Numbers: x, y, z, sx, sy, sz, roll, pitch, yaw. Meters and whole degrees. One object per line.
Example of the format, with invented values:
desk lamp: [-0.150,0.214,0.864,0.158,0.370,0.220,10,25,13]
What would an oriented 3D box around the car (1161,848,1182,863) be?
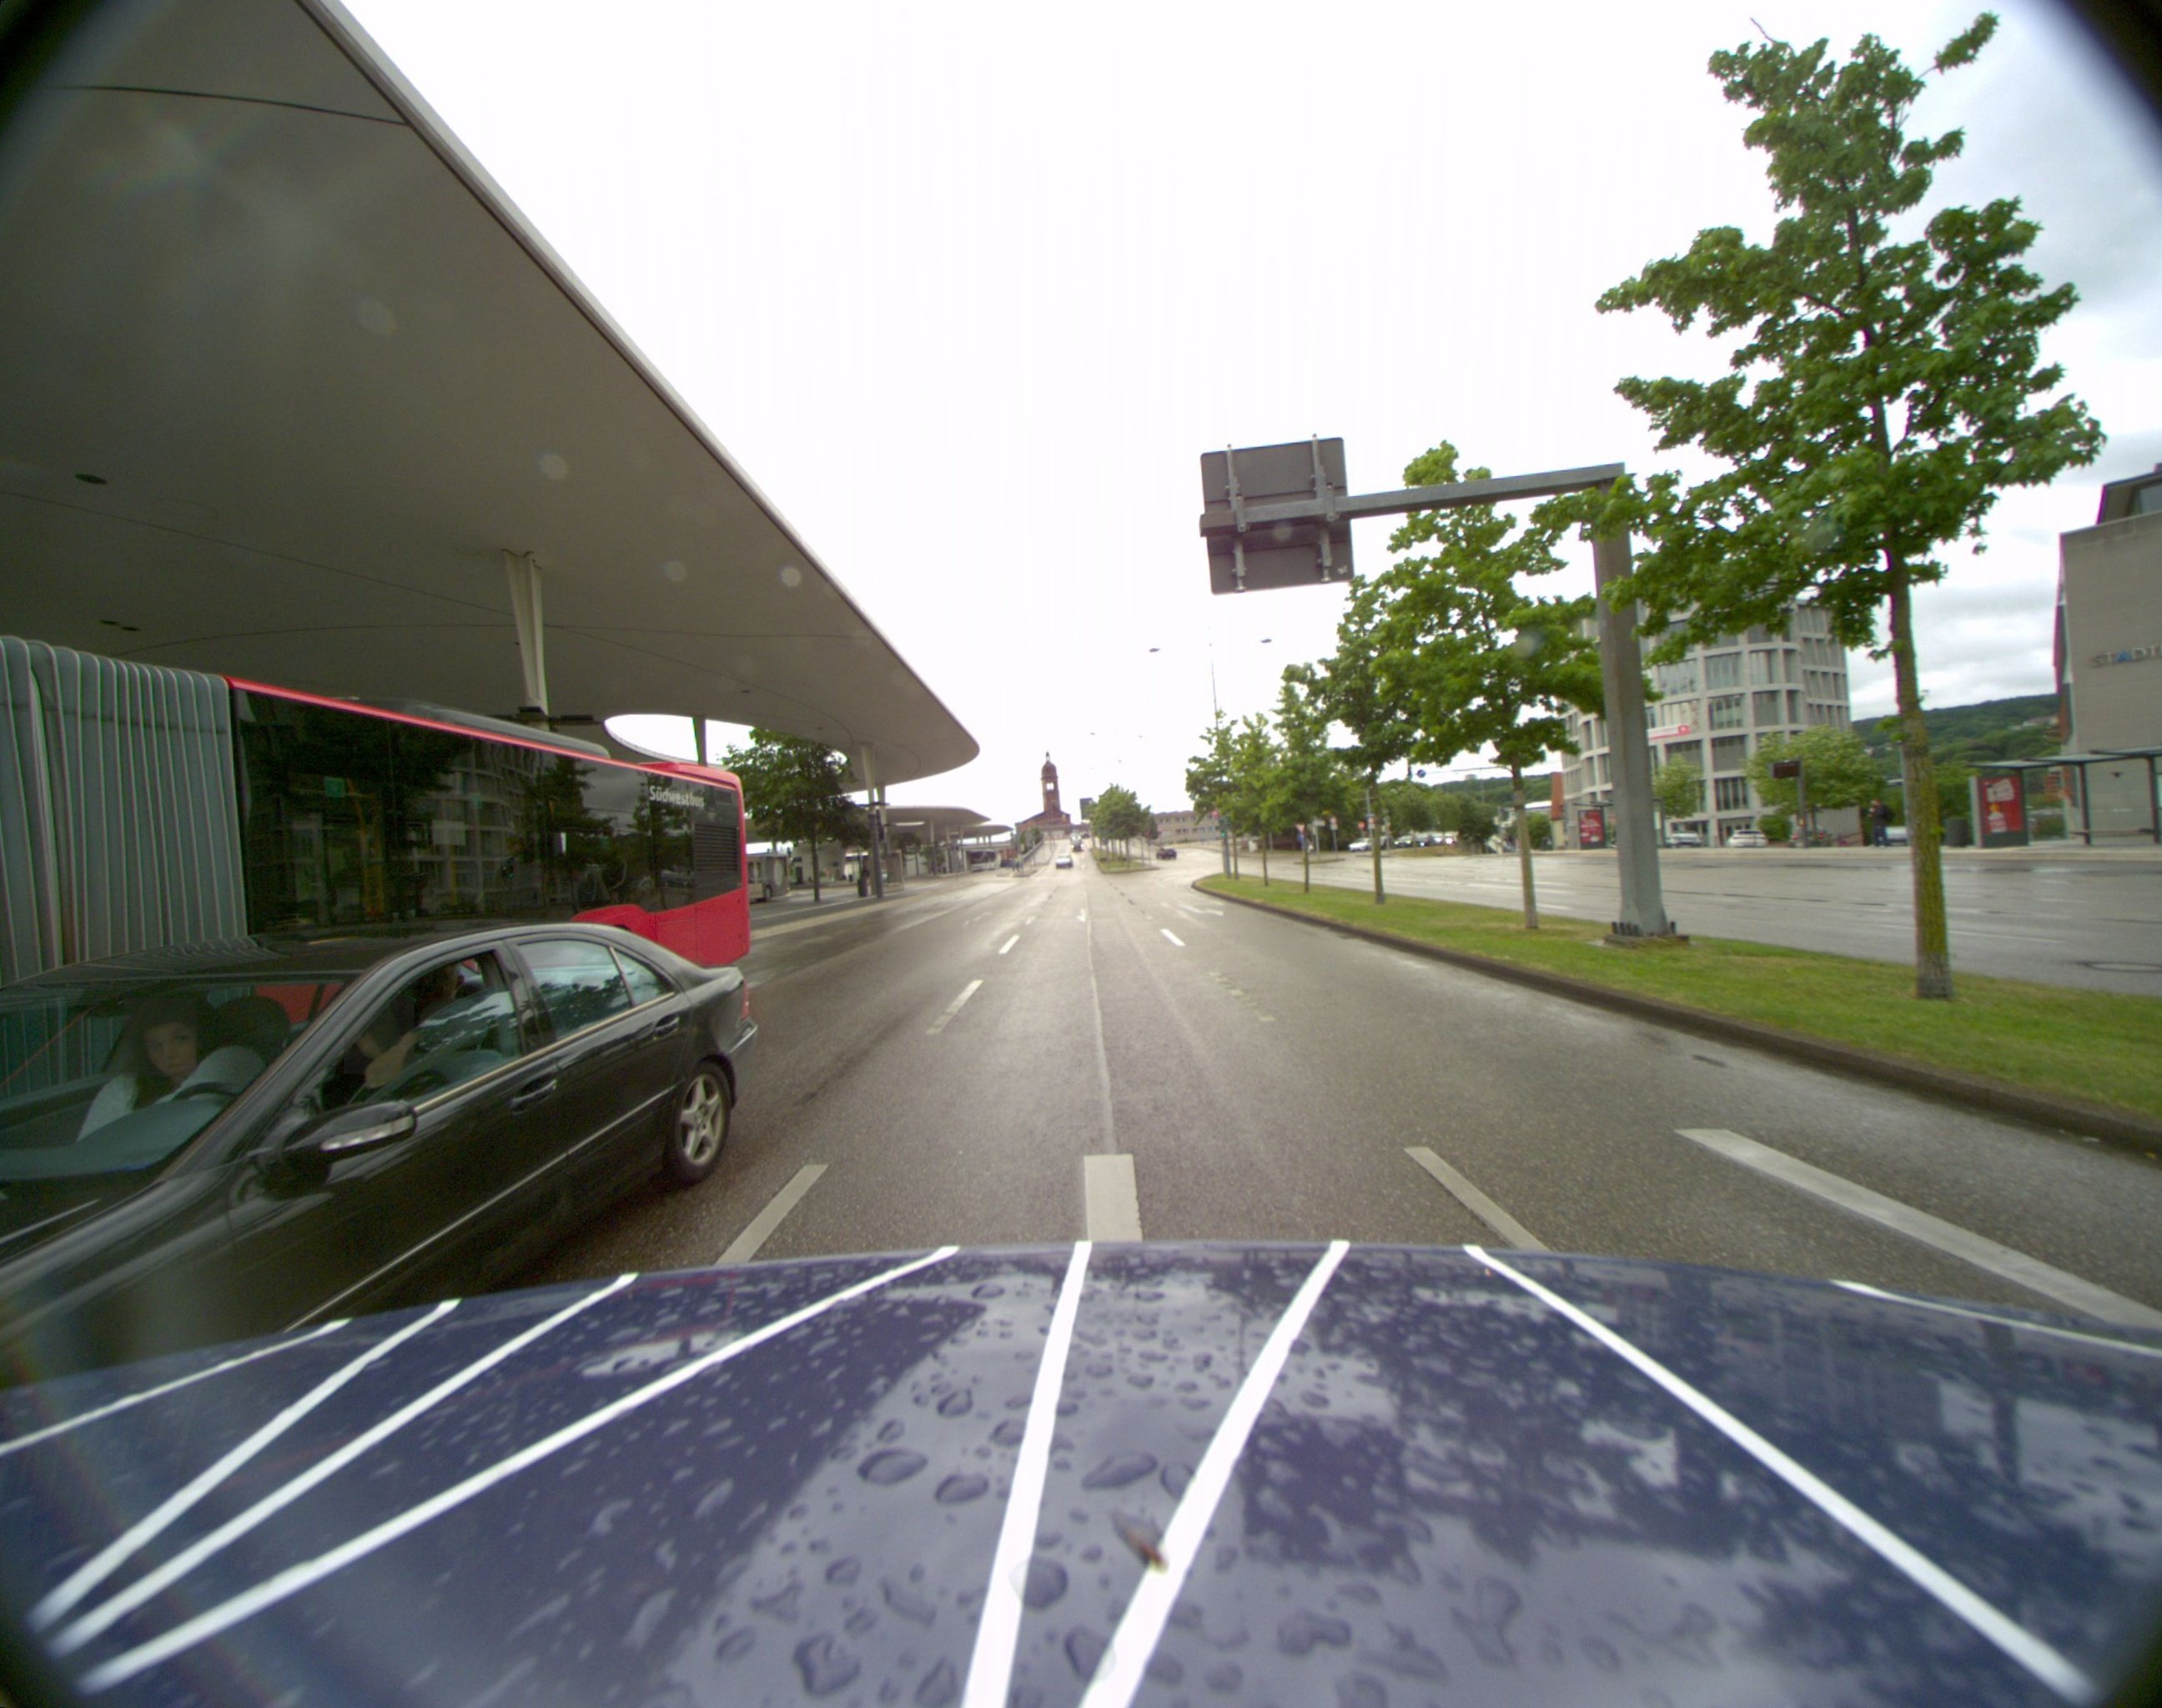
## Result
car: [10.945,0.178,92.076,1.998,1.765,4.000,-3,0,1]

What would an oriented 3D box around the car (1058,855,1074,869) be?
car: [-1.627,0.849,84.069,1.627,1.450,3.735,-3,0,0]

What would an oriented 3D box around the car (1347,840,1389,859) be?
car: [30.614,-0.509,81.037,4.925,1.702,2.190,-3,0,-43]

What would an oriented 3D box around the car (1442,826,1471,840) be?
car: [50.891,-2.783,103.072,2.193,1.702,4.920,-3,0,11]

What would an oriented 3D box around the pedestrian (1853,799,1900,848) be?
pedestrian: [29.107,-1.106,27.816,0.787,1.750,0.972,-3,1,-28]

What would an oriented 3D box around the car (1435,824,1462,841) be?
car: [47.087,-2.706,97.315,1.994,2.002,4.008,-2,0,44]

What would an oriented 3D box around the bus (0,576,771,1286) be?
bus: [-6.139,0.371,7.294,2.750,3.155,8.120,-3,0,1]

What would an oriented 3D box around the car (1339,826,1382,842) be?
car: [39.469,-2.784,107.372,2.315,2.002,5.021,-3,0,-41]

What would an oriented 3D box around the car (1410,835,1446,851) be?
car: [42.213,-1.324,92.420,4.925,1.702,2.190,-3,0,-43]

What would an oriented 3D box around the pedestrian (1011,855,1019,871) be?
pedestrian: [-6.668,0.926,76.758,0.576,1.614,0.588,-3,1,1]

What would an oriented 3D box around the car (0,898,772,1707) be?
car: [-2.789,1.081,2.440,1.750,1.471,4.434,-4,1,-1]

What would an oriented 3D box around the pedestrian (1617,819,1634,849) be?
pedestrian: [30.058,-1.127,41.953,0.520,1.625,0.536,-2,1,1]

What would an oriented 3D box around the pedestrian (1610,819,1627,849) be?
pedestrian: [29.509,-1.100,41.719,0.504,1.625,0.502,-2,1,1]

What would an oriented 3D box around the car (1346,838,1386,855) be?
car: [32.309,-0.890,86.035,4.925,1.702,2.190,-3,0,-42]

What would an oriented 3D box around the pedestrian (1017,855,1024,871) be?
pedestrian: [-6.090,0.925,76.755,0.557,1.614,0.552,-3,1,1]

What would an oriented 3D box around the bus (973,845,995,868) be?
bus: [-14.313,0.393,112.961,2.675,3.111,9.712,-3,0,-5]

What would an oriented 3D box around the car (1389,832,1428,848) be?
car: [37.808,-1.615,87.676,4.925,1.702,2.190,-3,0,-43]

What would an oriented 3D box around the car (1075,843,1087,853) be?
car: [0.018,-1.001,124.540,1.704,1.656,3.998,-3,1,-2]

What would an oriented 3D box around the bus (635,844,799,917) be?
bus: [-19.803,1.293,42.748,3.003,3.088,12.353,-9,0,-1]
